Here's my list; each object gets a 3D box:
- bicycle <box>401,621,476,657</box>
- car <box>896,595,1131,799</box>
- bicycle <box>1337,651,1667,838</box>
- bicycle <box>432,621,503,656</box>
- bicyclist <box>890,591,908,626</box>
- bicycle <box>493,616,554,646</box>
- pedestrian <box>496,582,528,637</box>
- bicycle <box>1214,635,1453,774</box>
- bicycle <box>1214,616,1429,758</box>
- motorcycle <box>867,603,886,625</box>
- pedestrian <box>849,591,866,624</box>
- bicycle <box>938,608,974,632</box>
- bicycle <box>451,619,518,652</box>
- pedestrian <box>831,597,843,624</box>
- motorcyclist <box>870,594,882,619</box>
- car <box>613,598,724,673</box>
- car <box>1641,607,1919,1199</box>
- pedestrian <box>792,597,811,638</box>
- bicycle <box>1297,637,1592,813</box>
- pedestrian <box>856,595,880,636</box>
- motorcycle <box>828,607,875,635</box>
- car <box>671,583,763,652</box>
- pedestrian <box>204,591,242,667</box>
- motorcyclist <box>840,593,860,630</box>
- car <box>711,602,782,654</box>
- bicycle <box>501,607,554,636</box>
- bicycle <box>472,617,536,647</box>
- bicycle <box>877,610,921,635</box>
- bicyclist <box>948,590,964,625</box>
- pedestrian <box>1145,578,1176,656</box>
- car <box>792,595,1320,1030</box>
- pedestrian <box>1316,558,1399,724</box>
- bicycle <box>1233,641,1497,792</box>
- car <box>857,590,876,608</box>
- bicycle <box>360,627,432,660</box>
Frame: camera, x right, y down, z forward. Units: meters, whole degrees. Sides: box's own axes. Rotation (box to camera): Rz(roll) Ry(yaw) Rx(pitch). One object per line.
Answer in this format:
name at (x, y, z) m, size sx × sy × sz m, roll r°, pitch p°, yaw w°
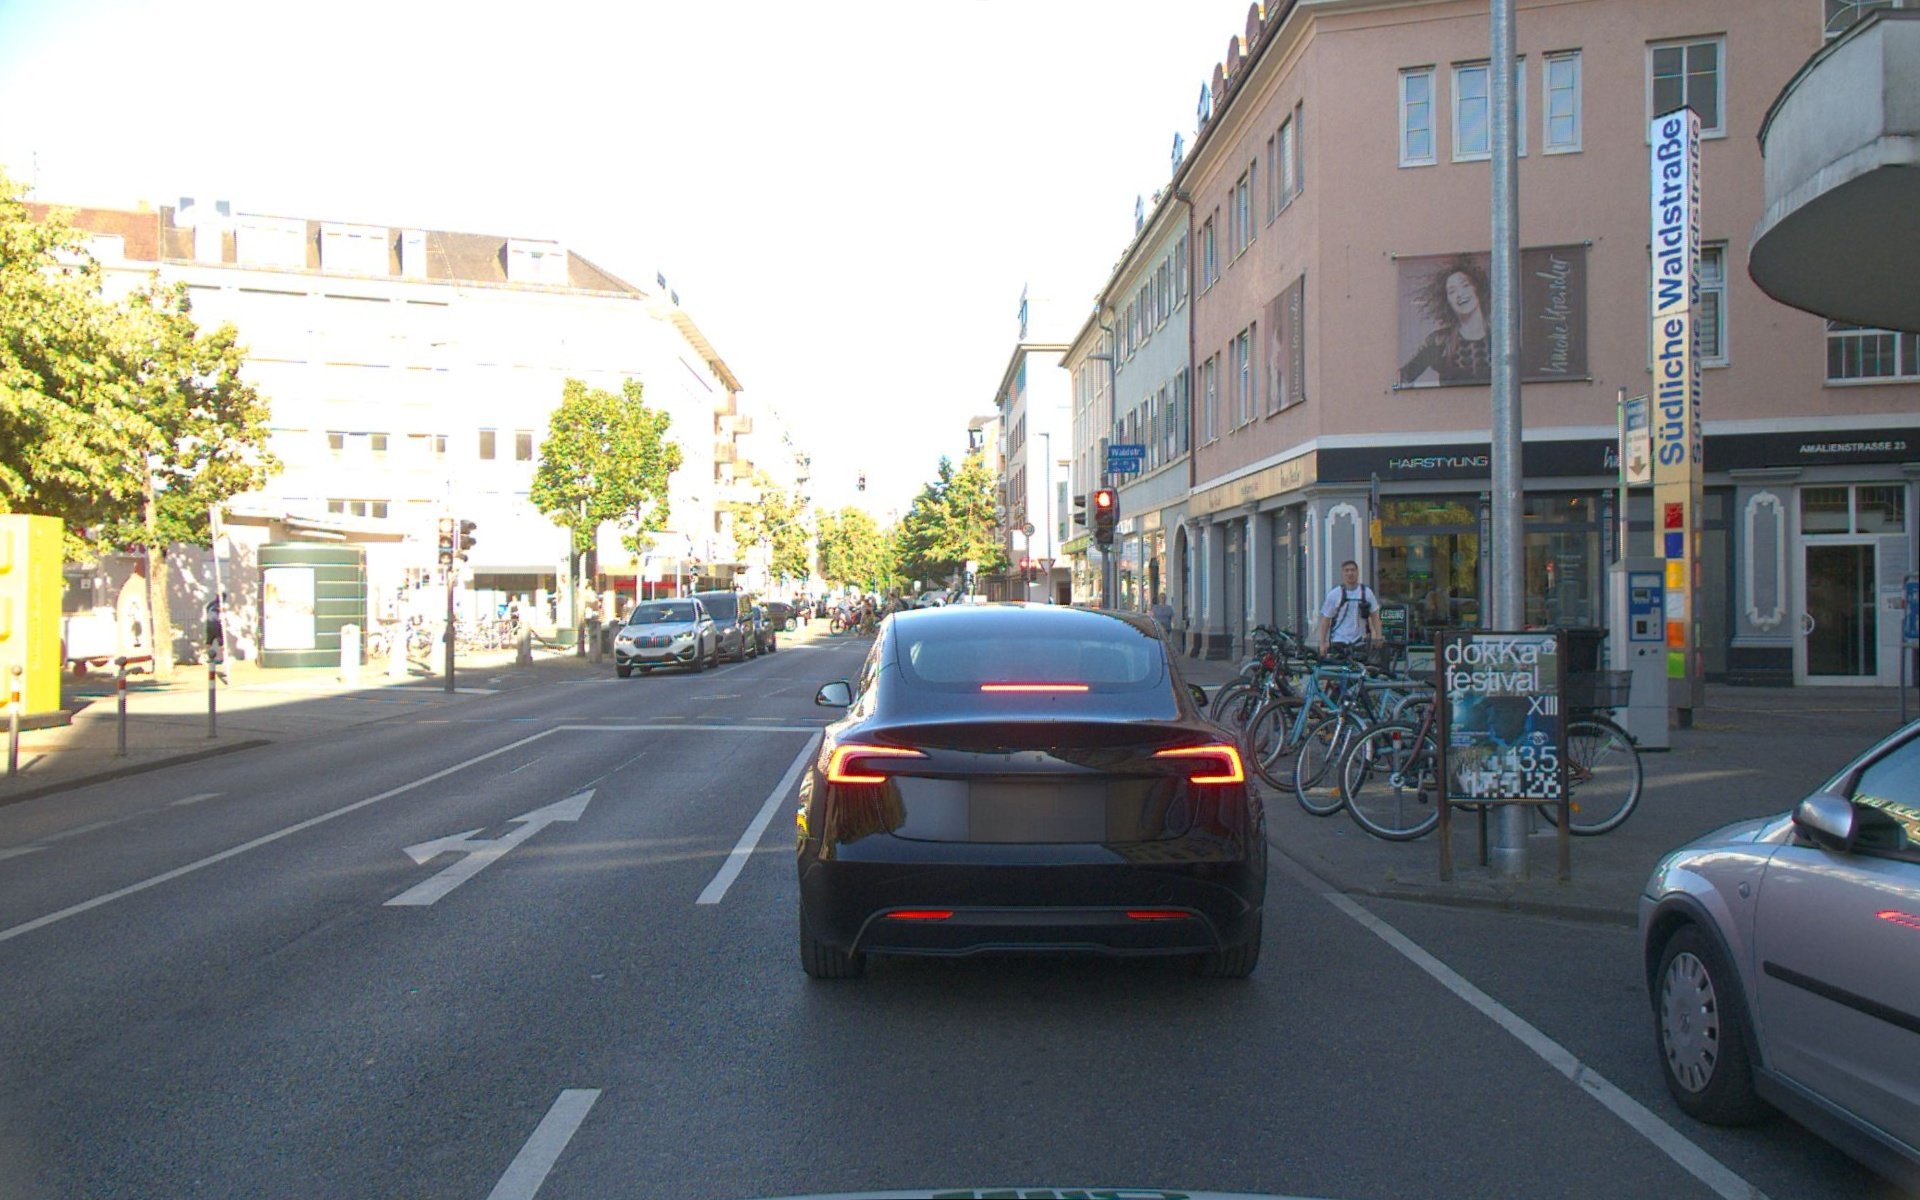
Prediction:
bicycle at (-14.176, 1.051, 44.966) m, size 1.826 × 0.950 × 0.606 m, roll 1°, pitch 0°, yaw -2°
car at (0.316, 0.691, 13.782) m, size 1.683 × 1.450 × 3.755 m, roll 0°, pitch 0°, yaw -2°
bicycle at (3.253, 0.871, 10.013) m, size 1.833 × 1.056 × 0.353 m, roll -2°, pitch -1°, yaw 6°
bicycle at (-14.017, 1.088, 47.123) m, size 1.826 × 0.950 × 0.606 m, roll 1°, pitch 0°, yaw -2°
bicyclist at (-2.529, 0.356, 68.459) m, size 0.659 × 1.420 × 0.460 m, roll 1°, pitch -1°, yaw -17°
bicycle at (-14.361, 1.015, 54.427) m, size 1.826 × 0.950 × 0.606 m, roll 0°, pitch 0°, yaw -2°
pedestrian at (-16.847, 0.361, 62.232) m, size 1.041 × 2.049 × 1.049 m, roll 1°, pitch -1°, yaw -20°
bicycle at (3.061, 0.854, 13.653) m, size 1.833 × 1.056 × 0.548 m, roll -2°, pitch -1°, yaw 5°
bicycle at (3.204, 0.772, 14.776) m, size 1.789 × 1.189 × 0.506 m, roll -2°, pitch -1°, yaw 5°
motorcycle at (-4.299, 0.722, 85.309) m, size 0.970 × 1.105 × 0.351 m, roll 1°, pitch -1°, yaw -38°
pedestrian at (-5.686, 0.400, 91.731) m, size 0.666 × 1.820 × 0.703 m, roll 1°, pitch -1°, yaw -36°
bicycle at (-0.168, 0.877, 72.479) m, size 1.536 × 1.030 × 0.480 m, roll 1°, pitch -1°, yaw -25°
bicycle at (-14.253, 1.064, 49.593) m, size 1.826 × 0.950 × 0.606 m, roll 1°, pitch 0°, yaw -2°
pedestrian at (-6.841, 0.578, 91.919) m, size 0.516 × 1.447 × 0.474 m, roll 1°, pitch -1°, yaw -31°
motorcyclist at (-4.328, 0.345, 85.287) m, size 0.486 × 1.275 × 0.350 m, roll 1°, pitch -1°, yaw -38°
car at (-6.296, 0.745, 36.101) m, size 1.752 × 1.485 × 3.756 m, roll -2°, pitch 0°, yaw -1°
car at (2.917, 0.768, 3.500) m, size 1.515 × 1.414 × 3.477 m, roll 0°, pitch 1°, yaw 0°
pedestrian at (-6.137, 0.687, 63.972) m, size 0.612 × 1.565 × 0.511 m, roll 1°, pitch -1°, yaw -19°
bicycle at (3.244, 0.833, 11.162) m, size 1.834 × 1.106 × 0.414 m, roll -2°, pitch -1°, yaw 3°
pedestrian at (-3.699, 0.619, 66.442) m, size 0.742 × 1.660 × 0.951 m, roll 1°, pitch -1°, yaw -18°
motorcycle at (-4.540, 0.875, 69.330) m, size 1.904 × 1.130 × 0.514 m, roll 0°, pitch 0°, yaw -27°
car at (-6.177, 0.426, 42.438) m, size 1.751 × 1.675 × 4.401 m, roll 0°, pitch 0°, yaw -1°
pedestrian at (-17.311, 0.680, 38.847) m, size 0.465 × 1.746 × 0.711 m, roll 1°, pitch -1°, yaw 7°
motorcyclist at (-4.620, 0.487, 69.288) m, size 0.711 × 1.555 × 0.512 m, roll 0°, pitch 0°, yaw -27°
car at (-6.389, 0.816, 49.784) m, size 1.680 × 1.471 × 3.844 m, roll 1°, pitch 0°, yaw -1°
bicycle at (-20.310, 1.022, 77.666) m, size 2.334 × 1.318 × 0.509 m, roll 1°, pitch -1°, yaw -27°
bicycle at (-14.325, 1.006, 51.979) m, size 1.826 × 0.950 × 0.606 m, roll 0°, pitch 0°, yaw -2°
bicycle at (-2.525, 0.939, 68.465) m, size 1.756 × 1.024 × 0.469 m, roll 1°, pitch -1°, yaw -17°
bicyclist at (-0.166, 0.341, 72.479) m, size 0.516 × 1.530 × 0.472 m, roll 1°, pitch -1°, yaw -25°
pedestrian at (4.591, 0.379, 37.894) m, size 0.691 × 1.773 × 0.541 m, roll 0°, pitch 0°, yaw 6°
car at (0.300, 0.727, 7.599) m, size 1.785 × 1.467 × 3.999 m, roll 0°, pitch 0°, yaw -1°
pedestrian at (4.421, 0.447, 18.435) m, size 0.735 × 1.796 × 0.837 m, roll 1°, pitch -1°, yaw 3°
bicycle at (3.028, 0.869, 12.478) m, size 1.834 × 1.056 × 0.533 m, roll -2°, pitch -1°, yaw 3°
car at (-10.605, -0.149, 187.134) m, size 1.953 × 2.049 × 3.999 m, roll 0°, pitch 0°, yaw -1°
bicycle at (-14.445, 1.112, 42.385) m, size 1.612 × 0.806 × 0.606 m, roll 1°, pitch 0°, yaw -5°
